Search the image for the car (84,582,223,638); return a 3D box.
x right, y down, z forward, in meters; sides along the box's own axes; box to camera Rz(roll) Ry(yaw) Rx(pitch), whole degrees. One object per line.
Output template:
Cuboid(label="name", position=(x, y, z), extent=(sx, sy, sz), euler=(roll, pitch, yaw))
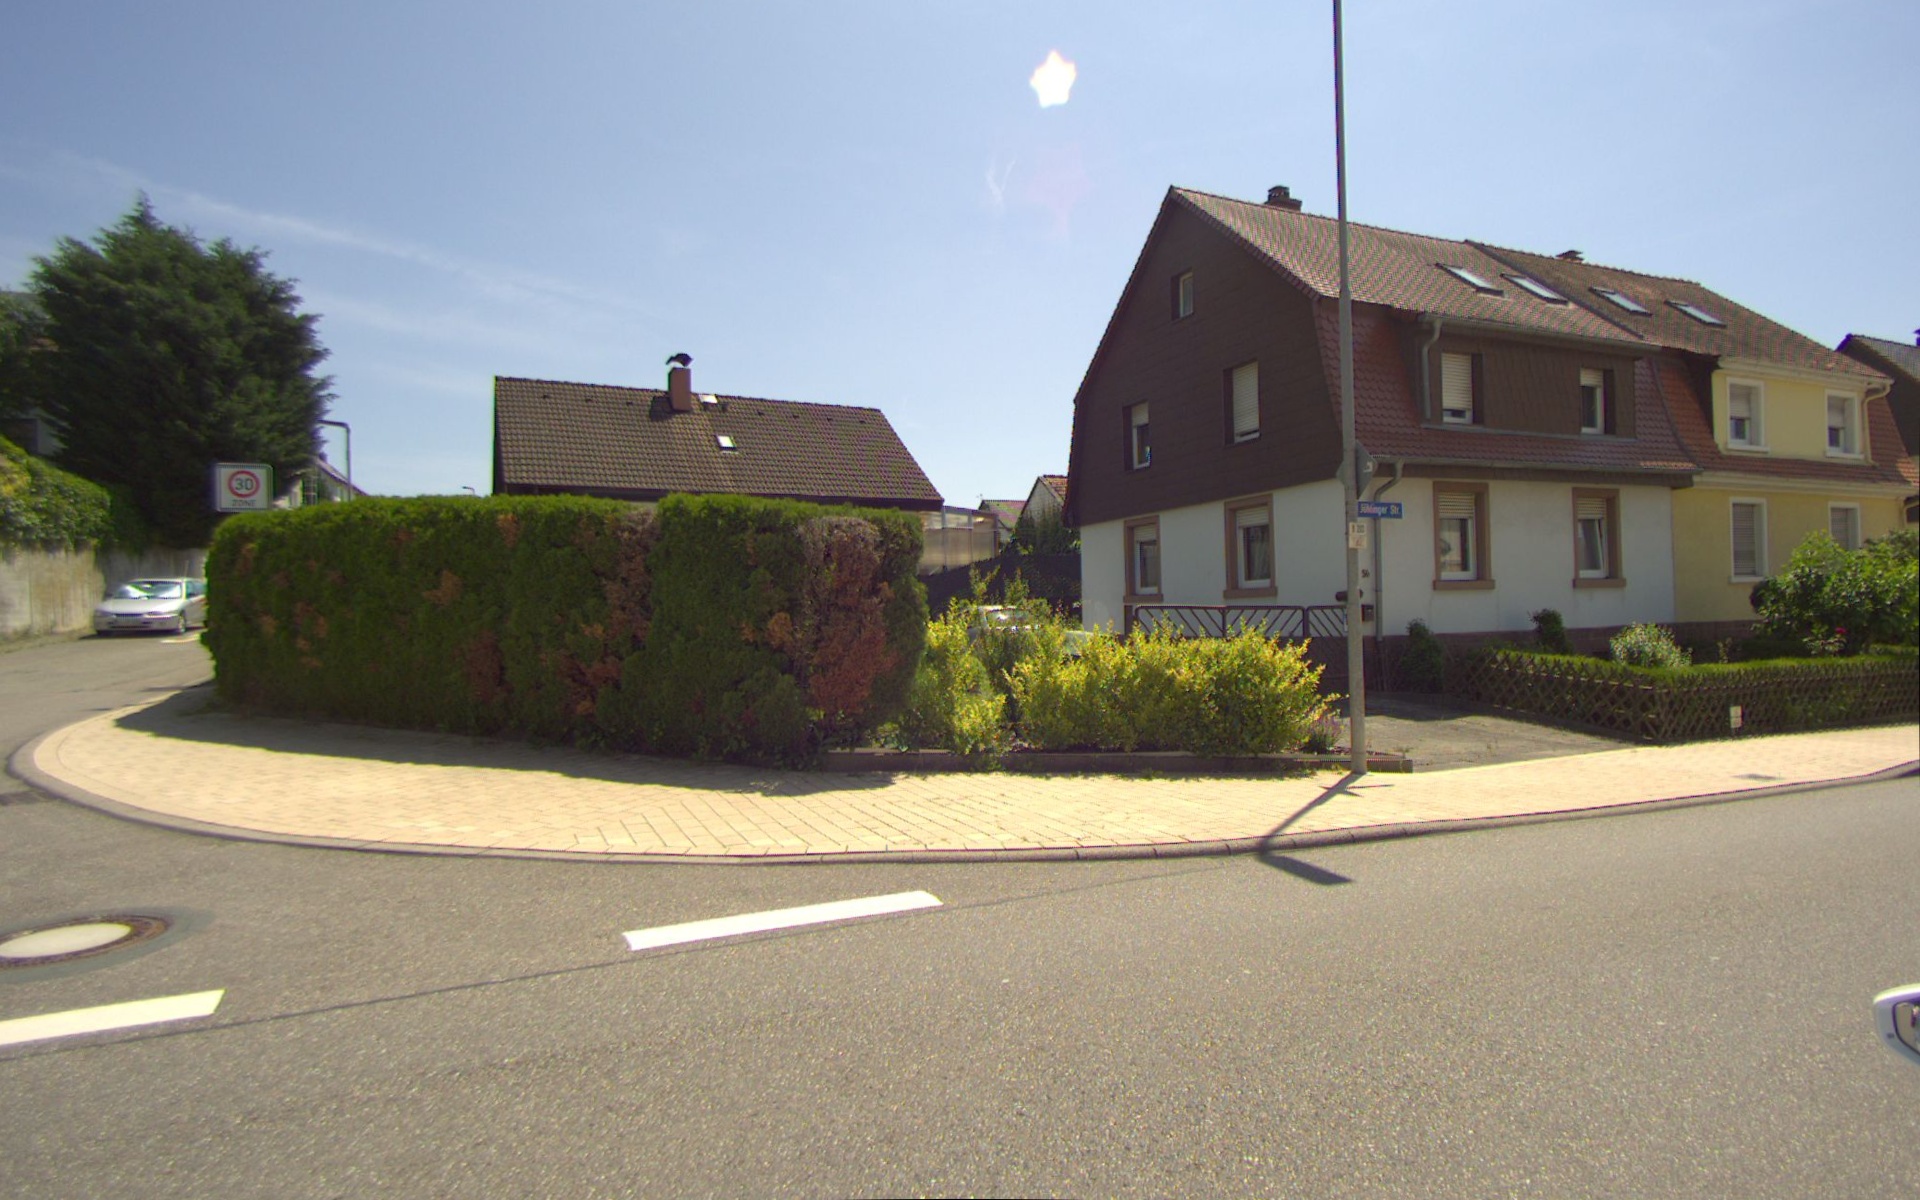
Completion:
Cuboid(label="car", position=(-20.198, 0.213, 25.337), extent=(1.723, 1.207, 3.758), euler=(1, 2, -23))

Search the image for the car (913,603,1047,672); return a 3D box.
Cuboid(label="car", position=(0.386, 0.820, 23.596), extent=(1.559, 1.411, 3.777), euler=(-3, 1, -26))
